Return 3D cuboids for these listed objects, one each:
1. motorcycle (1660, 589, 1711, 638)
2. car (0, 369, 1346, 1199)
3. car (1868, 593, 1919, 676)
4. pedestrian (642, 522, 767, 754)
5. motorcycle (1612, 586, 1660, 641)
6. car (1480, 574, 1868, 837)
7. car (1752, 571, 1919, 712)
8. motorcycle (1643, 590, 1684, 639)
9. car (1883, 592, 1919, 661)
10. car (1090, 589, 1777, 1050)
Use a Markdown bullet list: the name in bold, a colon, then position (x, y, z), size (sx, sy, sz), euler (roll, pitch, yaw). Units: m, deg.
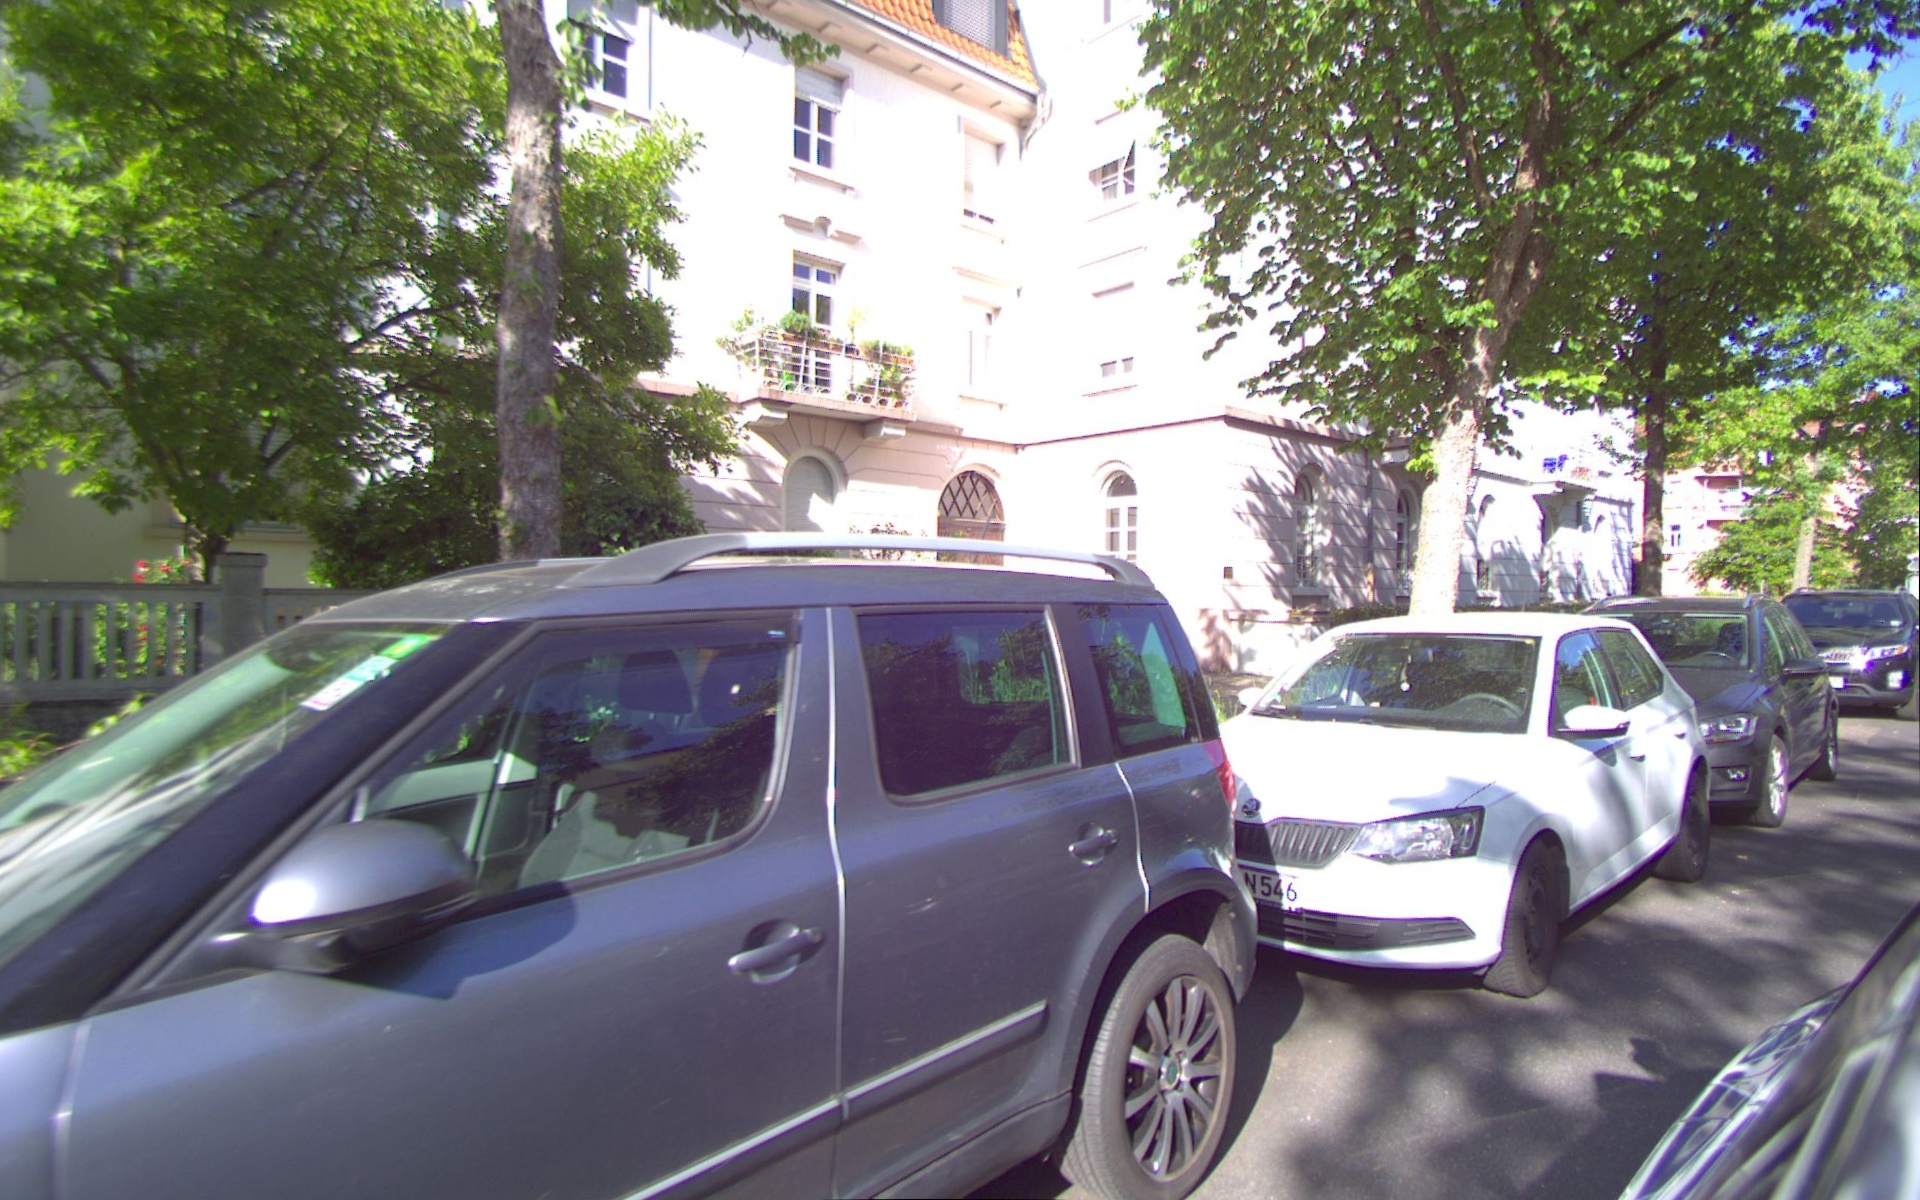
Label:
- **motorcycle**: position (20.819, 0.360, 29.028), size (0.970, 1.345, 1.824), euler (1, 1, 44)
- **car**: position (-0.757, 0.600, 2.323), size (3.784, 1.676, 1.650), euler (0, 0, -44)
- **car**: position (18.181, 0.591, 18.878), size (1.612, 1.427, 4.281), euler (1, 1, 45)
- **pedestrian**: position (-2.101, 0.288, 8.329), size (0.785, 1.797, 0.623), euler (0, 1, -41)
- **motorcycle**: position (17.622, 0.338, 26.371), size (2.053, 1.378, 0.540), euler (0, 0, -41)
- **car**: position (6.046, 0.659, 8.334), size (4.458, 1.608, 1.685), euler (0, -2, -43)
- **car**: position (12.855, 0.495, 14.374), size (4.223, 1.719, 1.784), euler (0, 1, -42)
- **motorcycle**: position (19.386, 0.379, 27.877), size (0.656, 1.295, 1.773), euler (3, 2, 42)
- **car**: position (21.617, 0.553, 22.174), size (4.064, 1.420, 1.655), euler (0, 1, -42)
- **car**: position (2.729, 0.689, 5.265), size (4.292, 1.443, 1.633), euler (0, 2, -41)
